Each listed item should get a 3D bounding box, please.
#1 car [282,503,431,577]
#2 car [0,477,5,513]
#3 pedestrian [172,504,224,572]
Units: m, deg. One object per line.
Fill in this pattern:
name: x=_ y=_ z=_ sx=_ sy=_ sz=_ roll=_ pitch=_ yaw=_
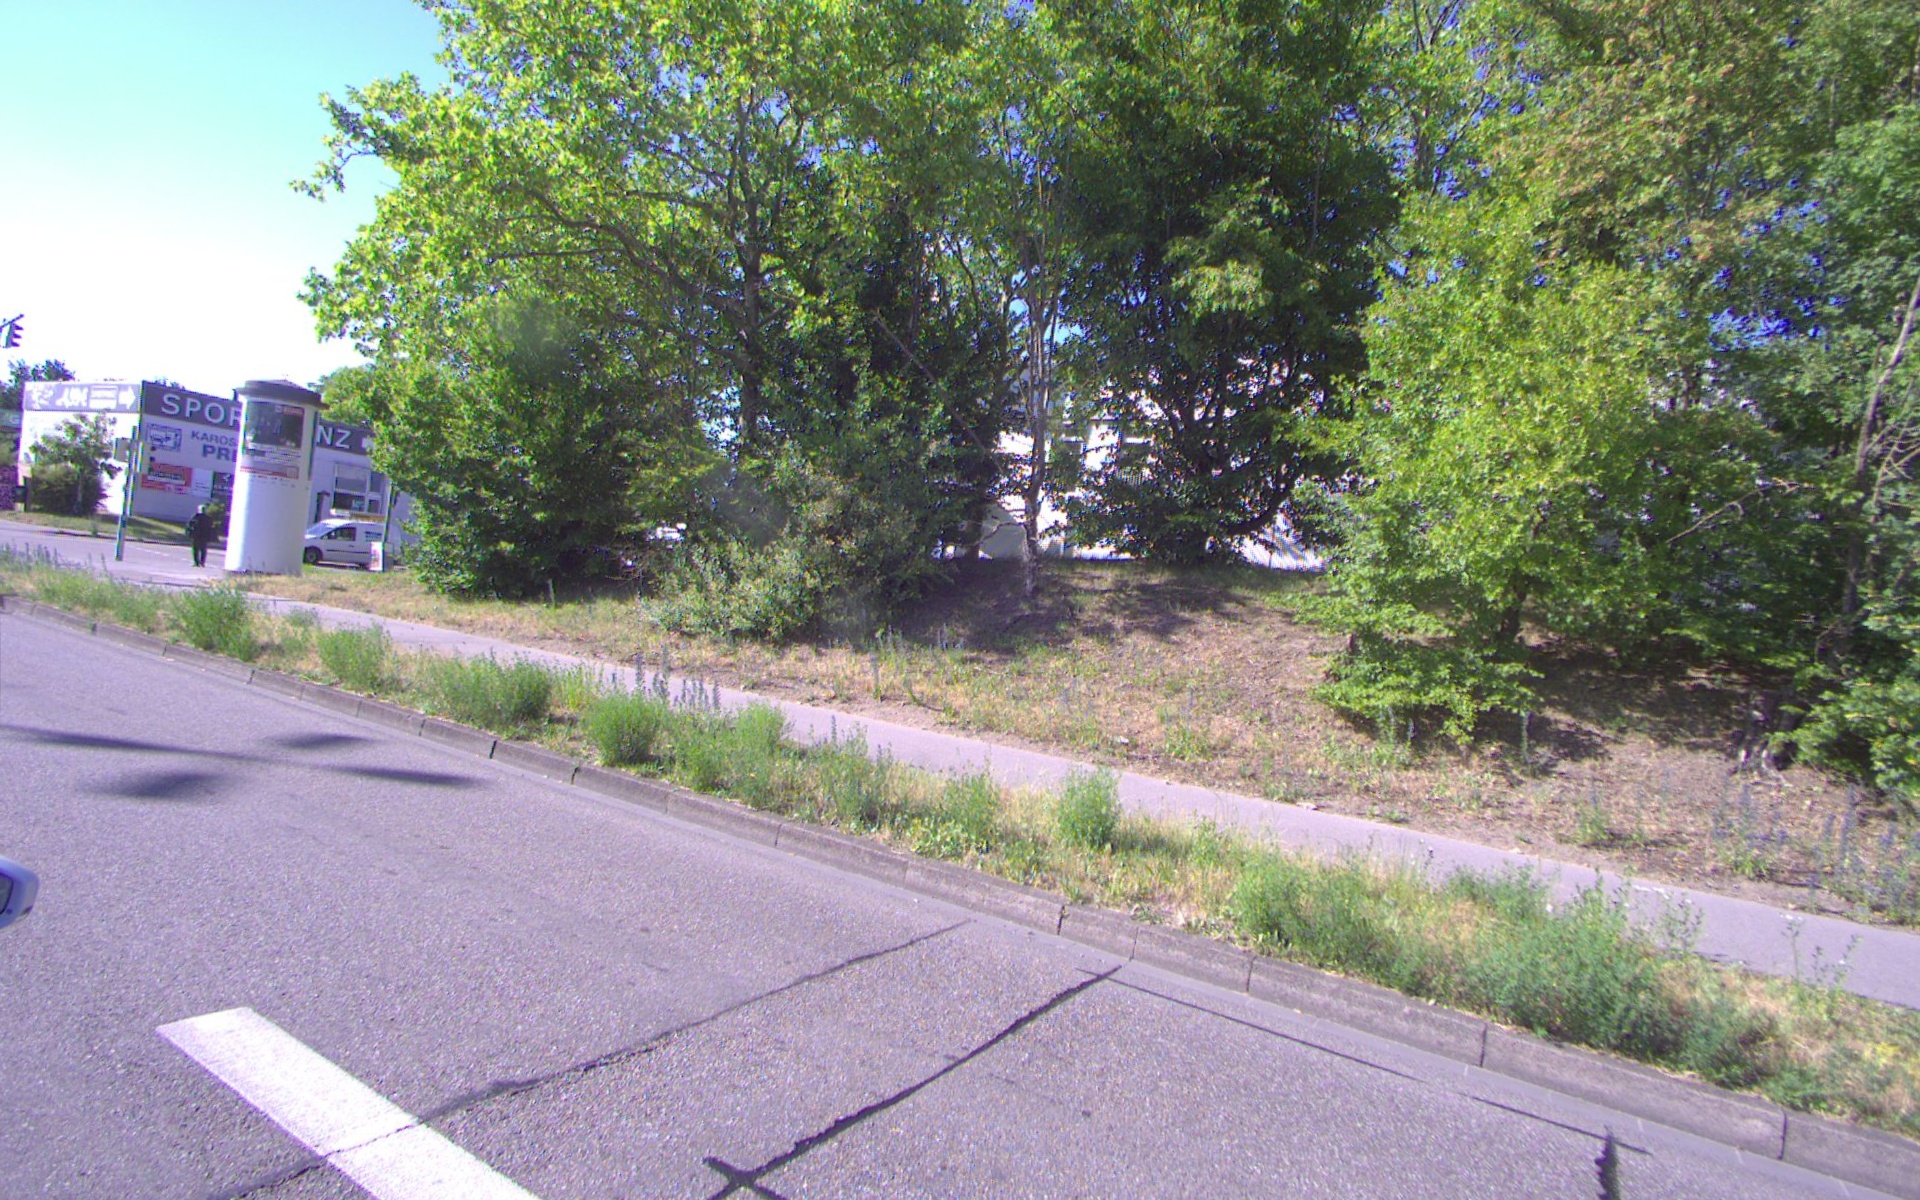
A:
car: x=-23.386 y=-2.286 z=39.171 sx=1.965 sy=2.171 sz=4.415 roll=7 pitch=-1 yaw=28
car: x=-48.285 y=-5.342 z=47.684 sx=1.663 sy=1.726 sz=4.003 roll=7 pitch=-1 yaw=16
pedestrian: x=-21.213 y=-1.719 z=28.017 sx=0.841 sy=1.743 sz=0.822 roll=7 pitch=0 yaw=39
